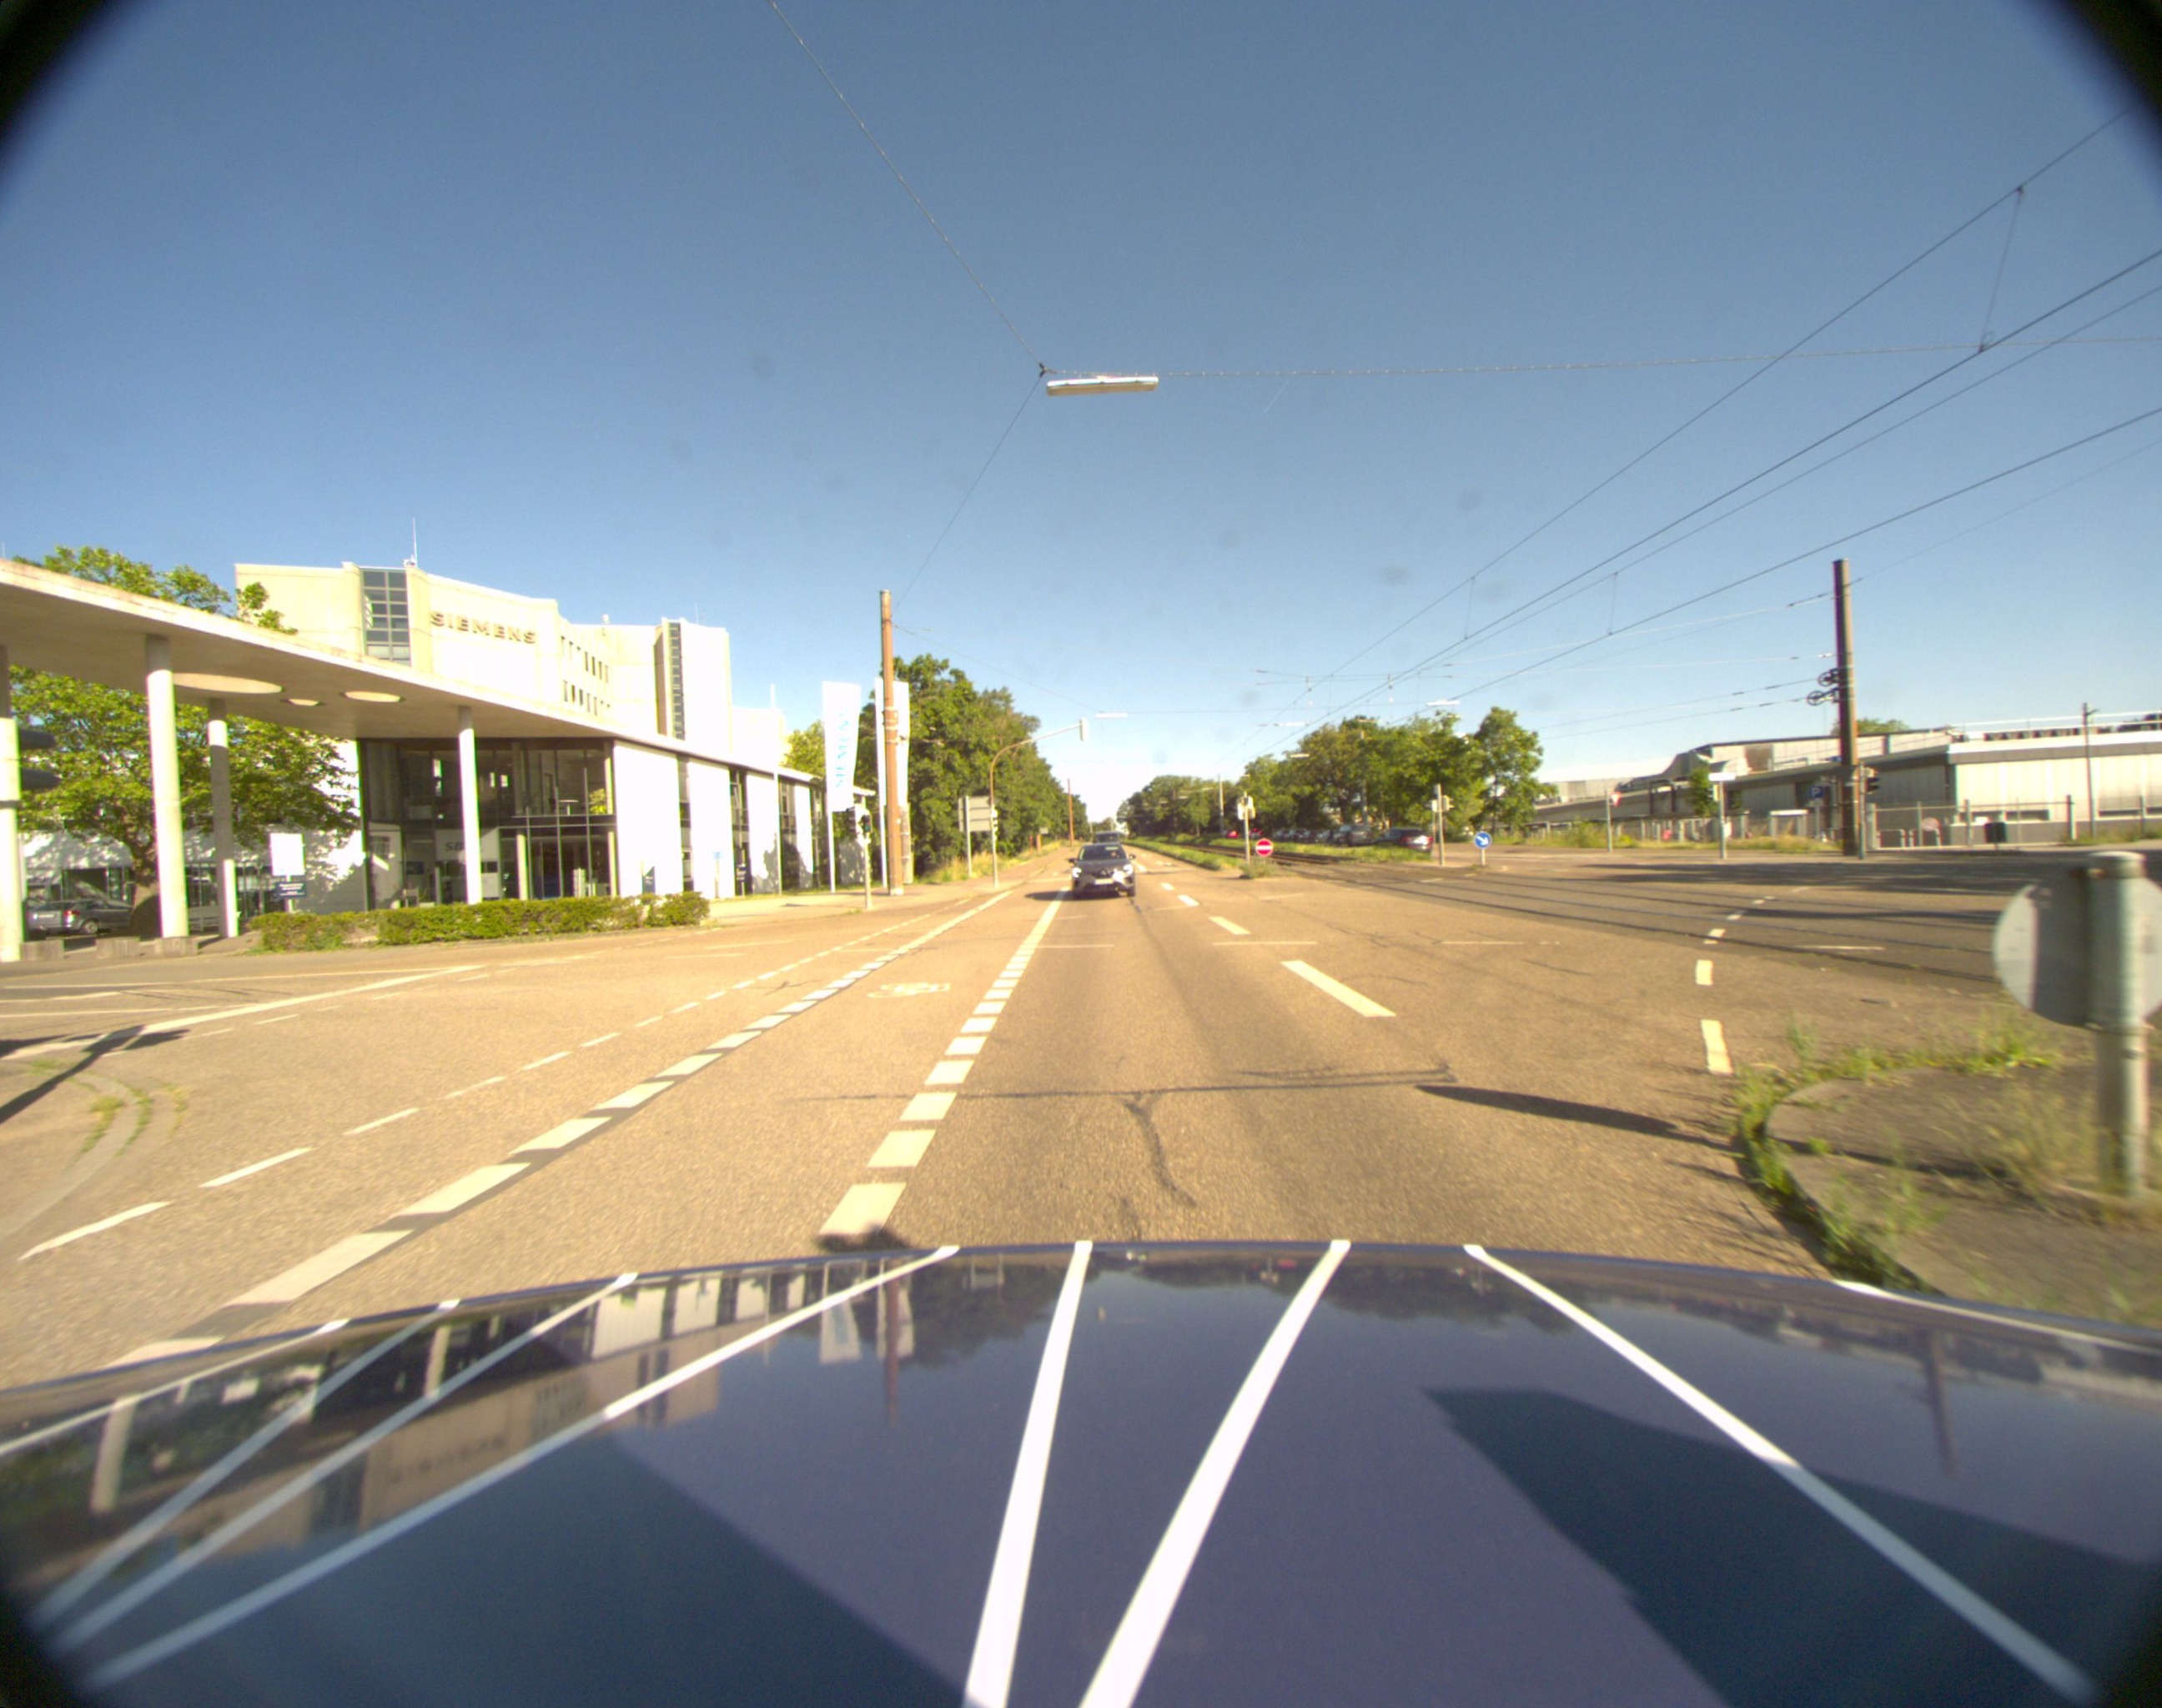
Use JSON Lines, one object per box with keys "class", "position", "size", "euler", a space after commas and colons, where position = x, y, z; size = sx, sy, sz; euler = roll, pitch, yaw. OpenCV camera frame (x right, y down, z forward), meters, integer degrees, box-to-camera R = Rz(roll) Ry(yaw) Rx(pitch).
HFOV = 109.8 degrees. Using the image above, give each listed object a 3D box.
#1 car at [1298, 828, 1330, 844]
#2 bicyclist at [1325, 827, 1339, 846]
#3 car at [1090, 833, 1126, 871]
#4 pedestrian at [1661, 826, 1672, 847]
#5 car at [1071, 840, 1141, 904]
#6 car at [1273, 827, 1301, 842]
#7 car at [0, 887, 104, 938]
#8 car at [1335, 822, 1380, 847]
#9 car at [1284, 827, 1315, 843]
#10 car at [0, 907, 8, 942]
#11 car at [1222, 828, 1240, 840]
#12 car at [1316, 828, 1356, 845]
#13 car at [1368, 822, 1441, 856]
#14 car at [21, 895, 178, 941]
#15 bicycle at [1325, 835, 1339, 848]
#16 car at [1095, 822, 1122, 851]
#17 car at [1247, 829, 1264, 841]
{"class": "car", "position": [23.595, -1.803, 77.067], "size": [1.960, 1.418, 4.488], "euler": [-3, 1, 3]}
{"class": "bicyclist", "position": [21.606, -1.524, 65.459], "size": [0.804, 1.584, 1.236], "euler": [-3, 2, 3]}
{"class": "car", "position": [1.662, -0.174, 46.764], "size": [1.998, 2.113, 3.999], "euler": [-3, 1, 2]}
{"class": "pedestrian", "position": [36.913, -1.119, 47.888], "size": [0.442, 1.293, 0.440], "euler": [-4, 2, -40]}
{"class": "car", "position": [0.681, 0.450, 23.046], "size": [1.796, 1.584, 4.529], "euler": [-4, 2, 0]}
{"class": "car", "position": [24.089, -2.282, 89.128], "size": [2.130, 1.555, 4.560], "euler": [-3, 1, 2]}
{"class": "car", "position": [-42.713, 2.353, 30.419], "size": [1.779, 1.786, 4.718], "euler": [-2, 1, -14]}
{"class": "car", "position": [23.146, -1.626, 63.758], "size": [2.206, 1.923, 4.685], "euler": [-3, 1, 3]}
{"class": "car", "position": [23.679, -2.090, 82.557], "size": [2.130, 1.578, 4.616], "euler": [-3, 1, 2]}
{"class": "car", "position": [-45.412, 2.960, 29.699], "size": [1.779, 1.436, 3.995], "euler": [-2, 1, -14]}
{"class": "car", "position": [24.308, -3.284, 123.172], "size": [2.320, 1.724, 4.797], "euler": [-3, 1, 4]}
{"class": "car", "position": [23.647, -1.628, 70.674], "size": [2.130, 1.372, 4.615], "euler": [-3, 1, 0]}
{"class": "car", "position": [18.172, -0.800, 42.914], "size": [2.099, 1.799, 4.792], "euler": [-1, 0, 0]}
{"class": "car", "position": [-40.119, 2.564, 31.234], "size": [1.779, 1.436, 3.995], "euler": [-2, 1, -14]}
{"class": "bicycle", "position": [21.639, -1.063, 65.576], "size": [0.698, 1.096, 1.781], "euler": [-3, 1, 3]}
{"class": "car", "position": [2.240, -1.436, 63.749], "size": [1.998, 2.199, 4.785], "euler": [-2, 1, 0]}
{"class": "car", "position": [24.234, -2.700, 105.735], "size": [1.859, 1.549, 4.158], "euler": [-3, 1, 8]}
